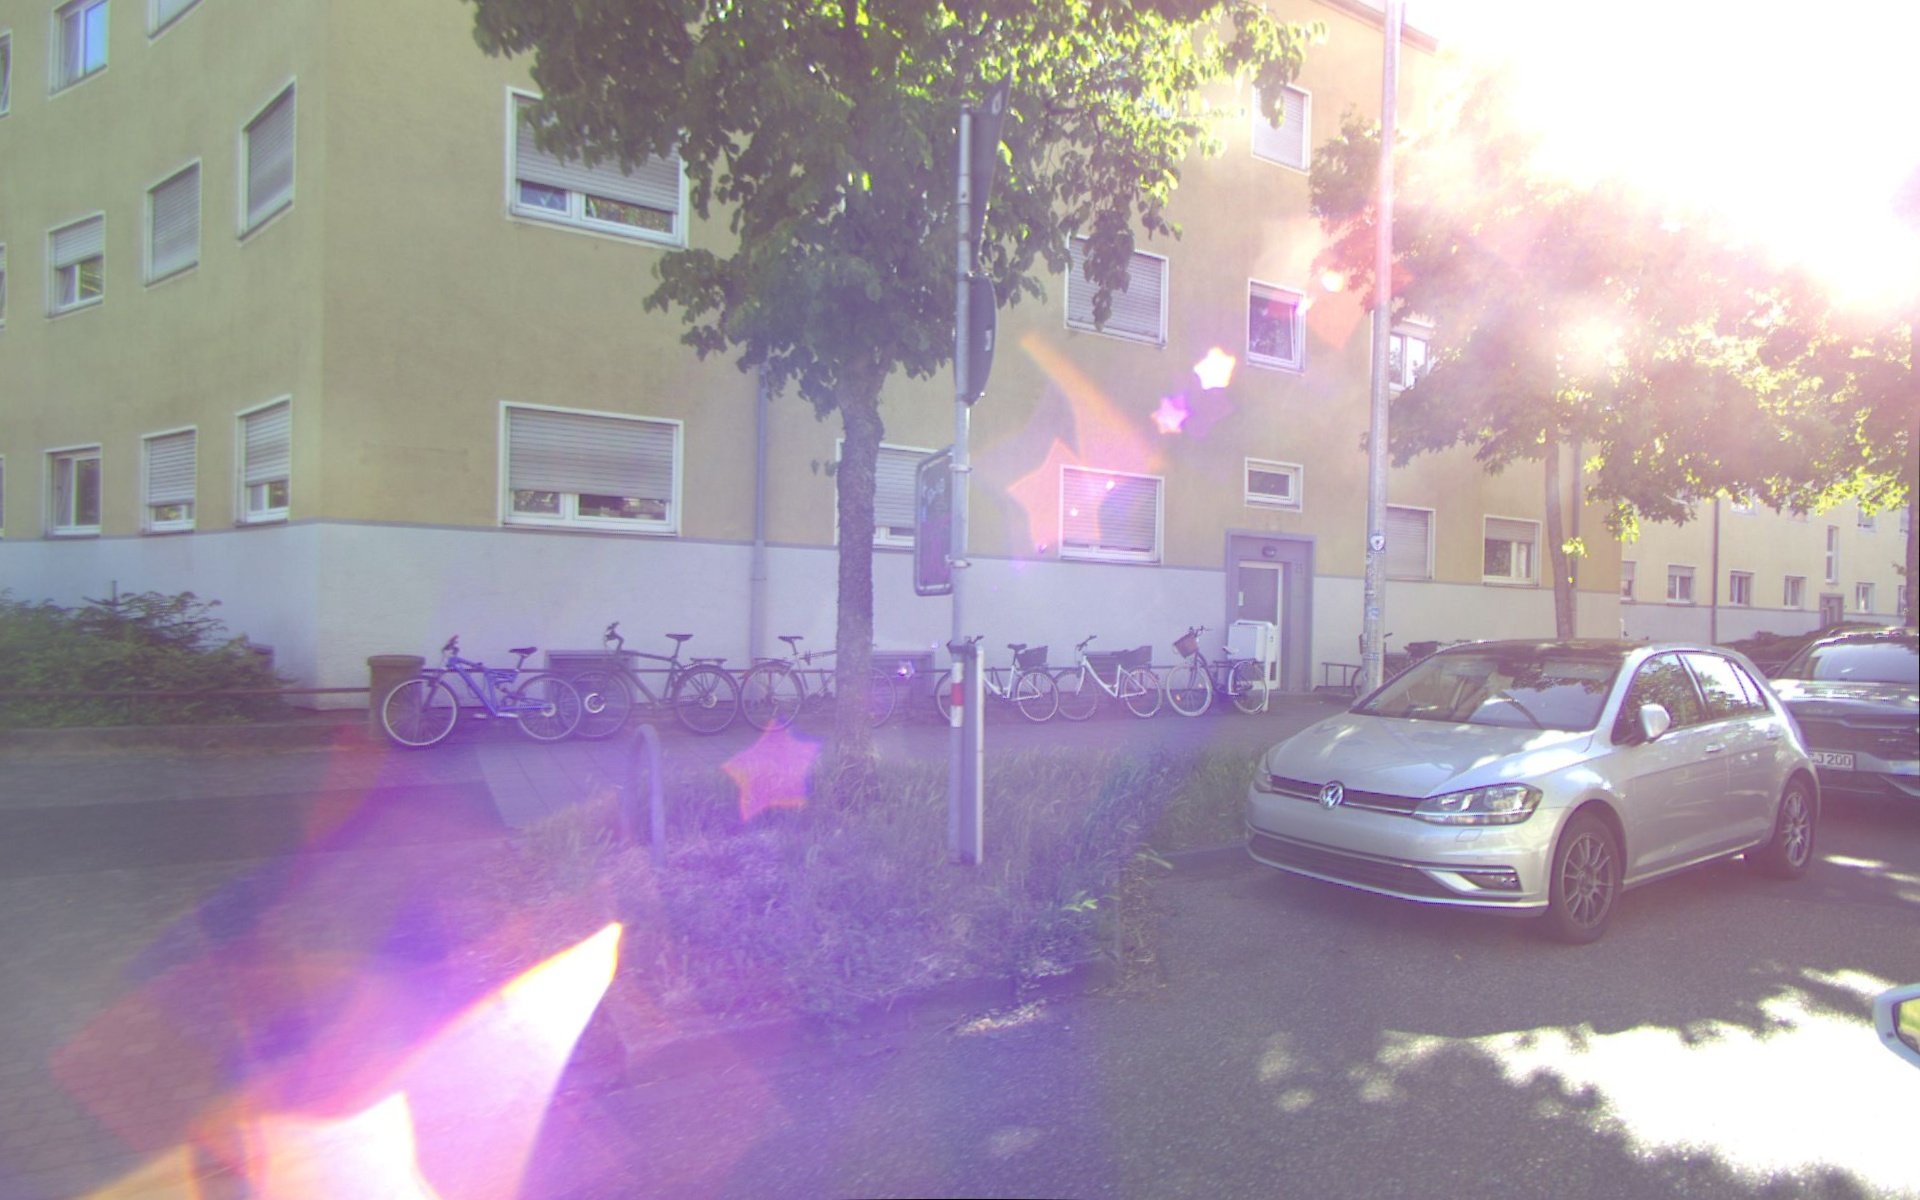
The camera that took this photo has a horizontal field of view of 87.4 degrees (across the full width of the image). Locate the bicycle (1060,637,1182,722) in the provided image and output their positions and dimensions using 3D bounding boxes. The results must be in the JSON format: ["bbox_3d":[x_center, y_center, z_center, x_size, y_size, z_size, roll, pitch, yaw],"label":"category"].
[{"bbox_3d":[2.040,0.980,12.667,1.526,1.014,0.509,1,0,-30],"label":"bicycle"}]

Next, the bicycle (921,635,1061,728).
[{"bbox_3d":[0.382,0.936,11.823,1.661,1.014,0.432,1,0,-30],"label":"bicycle"}]

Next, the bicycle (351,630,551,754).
[{"bbox_3d":[-4.468,0.782,8.875,1.526,1.014,0.474,1,0,-30],"label":"bicycle"}]

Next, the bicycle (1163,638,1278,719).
[{"bbox_3d":[3.493,1.034,13.441,1.524,1.014,0.513,1,0,-27],"label":"bicycle"}]

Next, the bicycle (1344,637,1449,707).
[{"bbox_3d":[6.804,1.106,15.645,1.726,1.040,0.538,2,0,-29],"label":"bicycle"}]

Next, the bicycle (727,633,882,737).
[{"bbox_3d":[-1.606,0.860,10.489,1.526,1.014,0.451,1,0,-30],"label":"bicycle"}]

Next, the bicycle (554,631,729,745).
[{"bbox_3d":[-3.040,0.817,9.646,1.526,1.014,0.472,1,0,-30],"label":"bicycle"}]

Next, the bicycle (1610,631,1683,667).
[{"bbox_3d":[19.259,1.356,28.206,0.477,0.943,1.620,1,-1,-37],"label":"bicycle"}]

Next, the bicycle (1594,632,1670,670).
[{"bbox_3d":[17.806,1.339,26.648,0.476,0.943,1.623,1,-1,-32],"label":"bicycle"}]

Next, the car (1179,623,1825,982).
[{"bbox_3d":[3.373,0.914,6.042,3.952,1.461,1.749,2,0,-33],"label":"car"}]

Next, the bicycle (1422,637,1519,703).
[{"bbox_3d":[8.451,1.145,16.613,1.726,1.040,0.533,2,0,-28],"label":"bicycle"}]

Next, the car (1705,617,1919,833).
[{"bbox_3d":[8.873,0.997,9.202,4.682,1.586,1.682,2,0,-32],"label":"car"}]
